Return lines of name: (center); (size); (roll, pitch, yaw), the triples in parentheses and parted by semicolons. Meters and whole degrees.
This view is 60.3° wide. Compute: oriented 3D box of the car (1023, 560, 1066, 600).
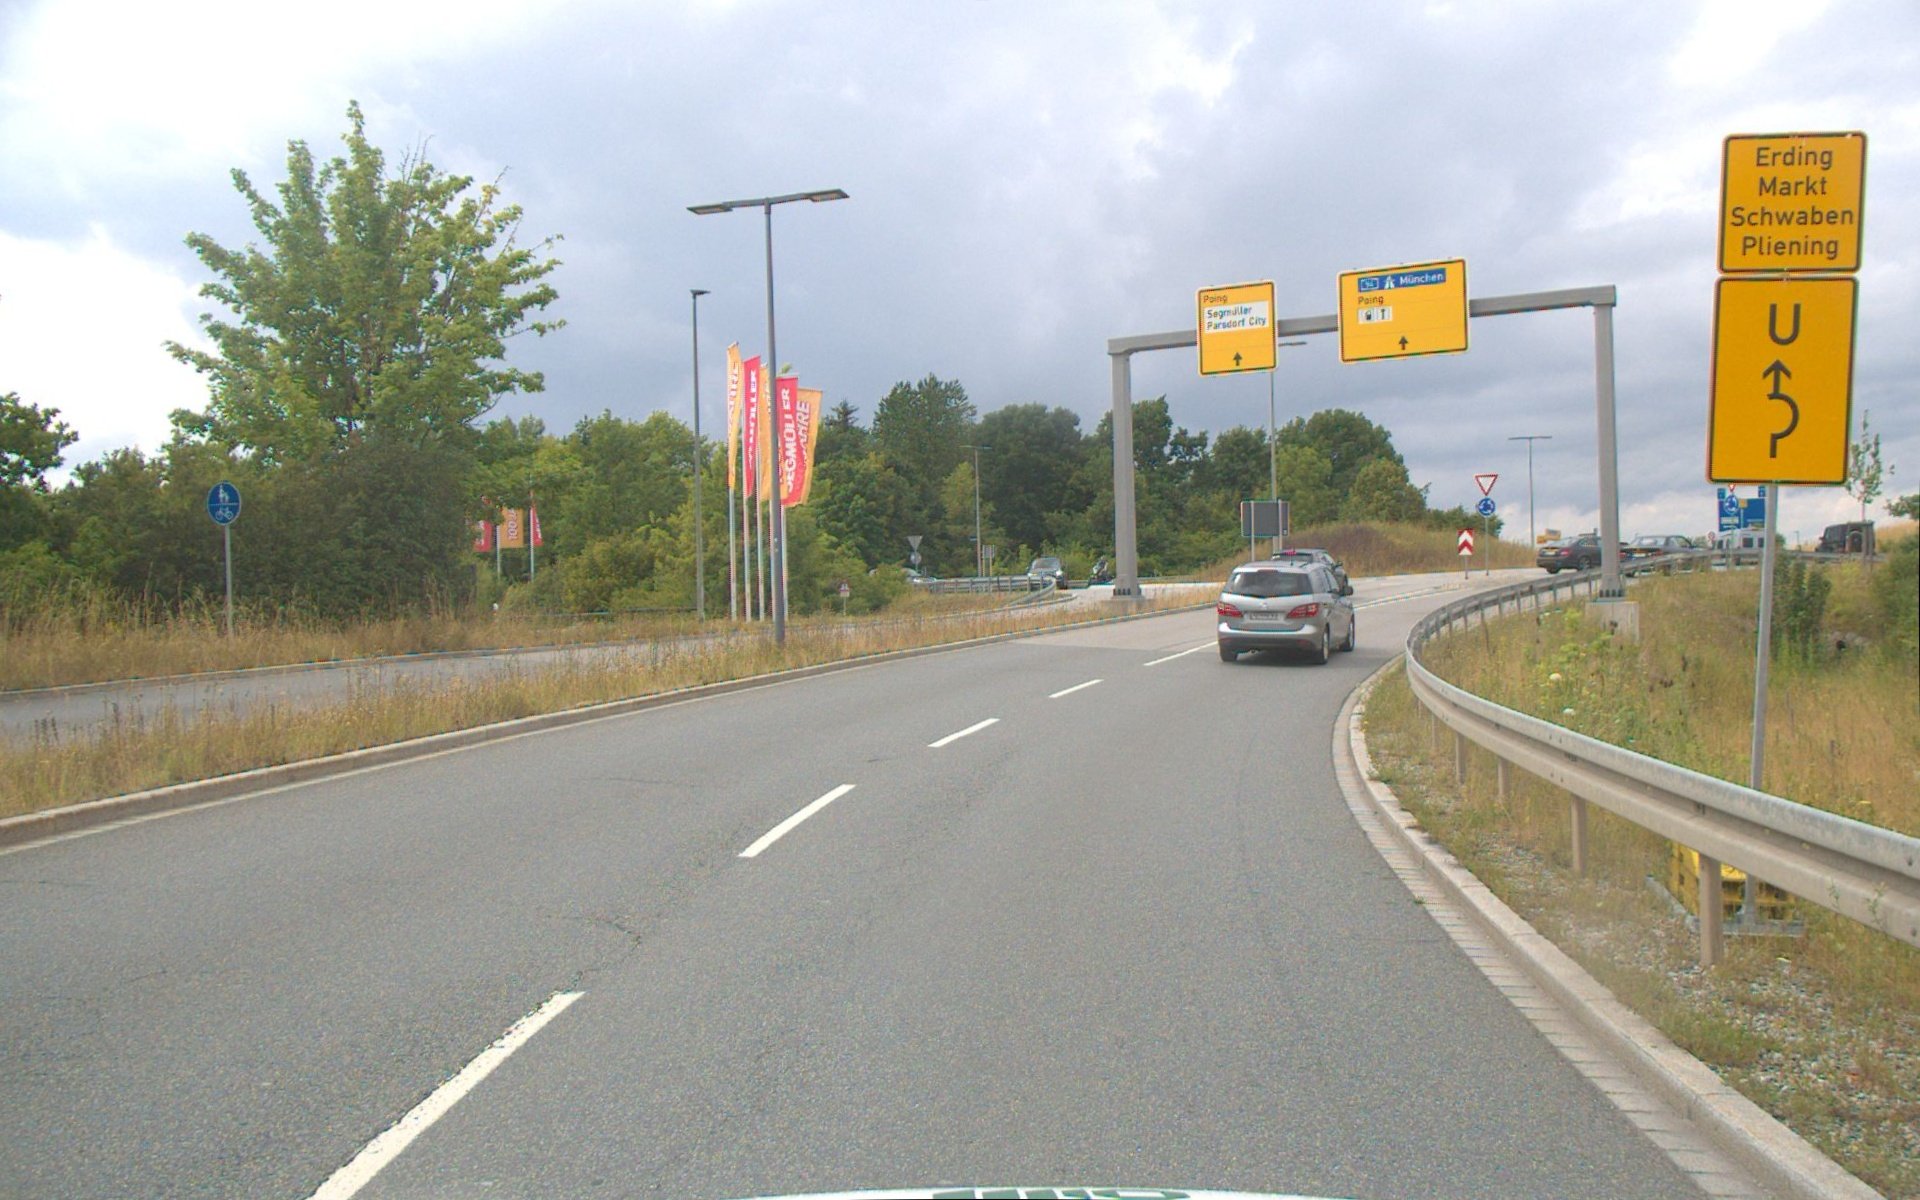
car: (4.146, -1.005, 80.427); (1.815, 1.693, 4.166); (-4, 1, 5)

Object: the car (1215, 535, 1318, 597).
car: (8.660, -0.952, 46.501); (1.833, 1.633, 3.731); (3, 2, 27)

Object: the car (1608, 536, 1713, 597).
car: (23.187, -1.118, 54.697); (3.923, 1.870, 1.634); (-3, 1, -41)

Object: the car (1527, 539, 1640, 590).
car: (24.278, -1.384, 64.360); (4.097, 1.814, 1.884); (-2, 1, -29)

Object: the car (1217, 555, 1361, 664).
car: (5.569, 0.088, 27.675); (1.731, 1.644, 3.922); (1, 2, 21)
